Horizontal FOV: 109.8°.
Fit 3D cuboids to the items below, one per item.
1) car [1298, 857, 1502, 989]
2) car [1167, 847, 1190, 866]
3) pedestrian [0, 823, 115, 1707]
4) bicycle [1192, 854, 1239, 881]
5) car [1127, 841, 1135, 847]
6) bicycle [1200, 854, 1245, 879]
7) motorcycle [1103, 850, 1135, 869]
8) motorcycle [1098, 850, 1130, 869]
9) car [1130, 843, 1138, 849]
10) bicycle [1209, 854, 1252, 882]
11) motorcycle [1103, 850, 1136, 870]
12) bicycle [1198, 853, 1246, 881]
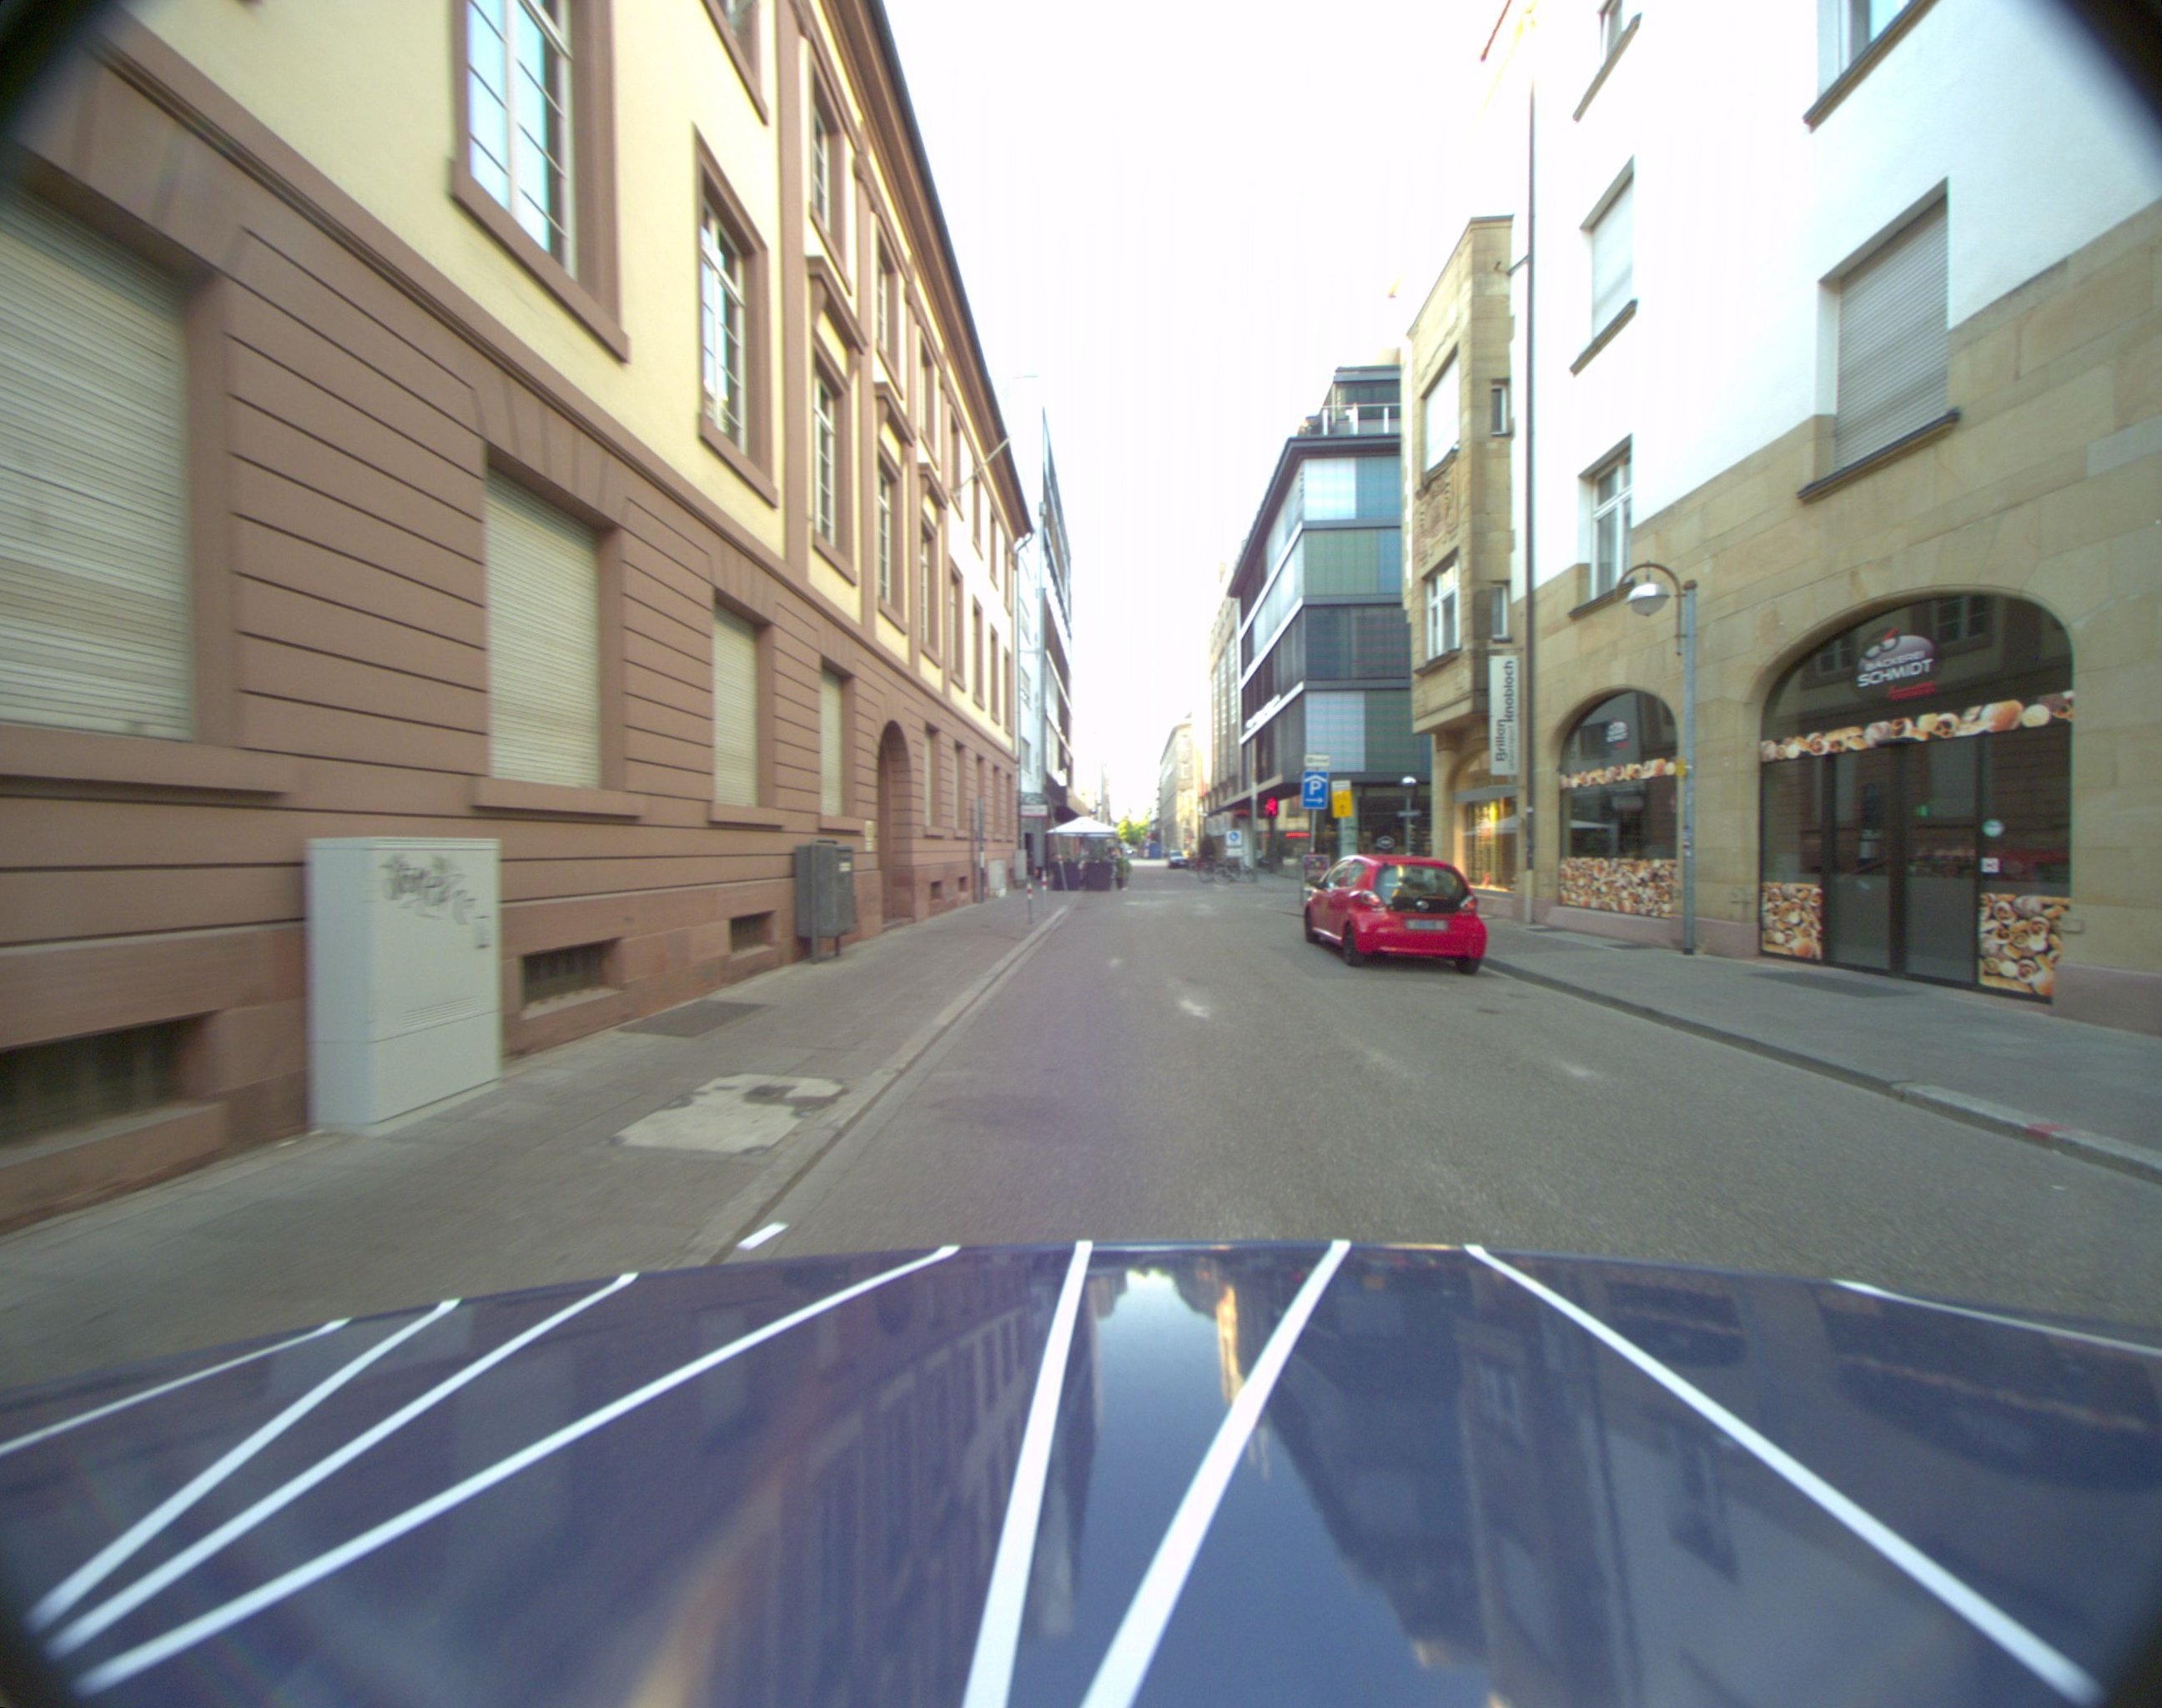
[{"bbox_3d":[4.242,0.824,10.627,1.637,1.433,3.157,3,1,4],"label":"car"},{"bbox_3d":[7.621,0.158,59.574,1.425,1.409,3.895,-1,1,3],"label":"car"},{"bbox_3d":[-2.523,0.770,1.301,0.928,1.661,0.813,1,1,21],"label":"pedestrian"},{"bbox_3d":[5.898,0.588,33.425,1.952,1.124,0.620,-1,1,4],"label":"bicycle"},{"bbox_3d":[10.118,-1.981,154.028,1.425,1.090,3.563,-1,1,3],"label":"car"},{"bbox_3d":[6.548,0.565,35.193,1.952,1.124,0.526,-1,1,4],"label":"bicycle"},{"bbox_3d":[2.605,0.378,51.881,2.192,1.275,0.651,1,2,5],"label":"motorcycle"},{"bbox_3d":[2.316,0.360,53.625,2.192,1.275,0.651,1,2,5],"label":"motorcycle"},{"bbox_3d":[12.411,-1.815,177.533,1.426,1.259,3.562,-1,1,-1],"label":"car"},{"bbox_3d":[6.076,0.570,30.920,1.606,1.112,0.620,-1,1,4],"label":"bicycle"},{"bbox_3d":[2.594,0.392,50.917,2.192,1.275,0.651,1,2,5],"label":"motorcycle"},{"bbox_3d":[6.012,0.552,32.506,1.952,1.124,0.620,-1,1,4],"label":"bicycle"}]
